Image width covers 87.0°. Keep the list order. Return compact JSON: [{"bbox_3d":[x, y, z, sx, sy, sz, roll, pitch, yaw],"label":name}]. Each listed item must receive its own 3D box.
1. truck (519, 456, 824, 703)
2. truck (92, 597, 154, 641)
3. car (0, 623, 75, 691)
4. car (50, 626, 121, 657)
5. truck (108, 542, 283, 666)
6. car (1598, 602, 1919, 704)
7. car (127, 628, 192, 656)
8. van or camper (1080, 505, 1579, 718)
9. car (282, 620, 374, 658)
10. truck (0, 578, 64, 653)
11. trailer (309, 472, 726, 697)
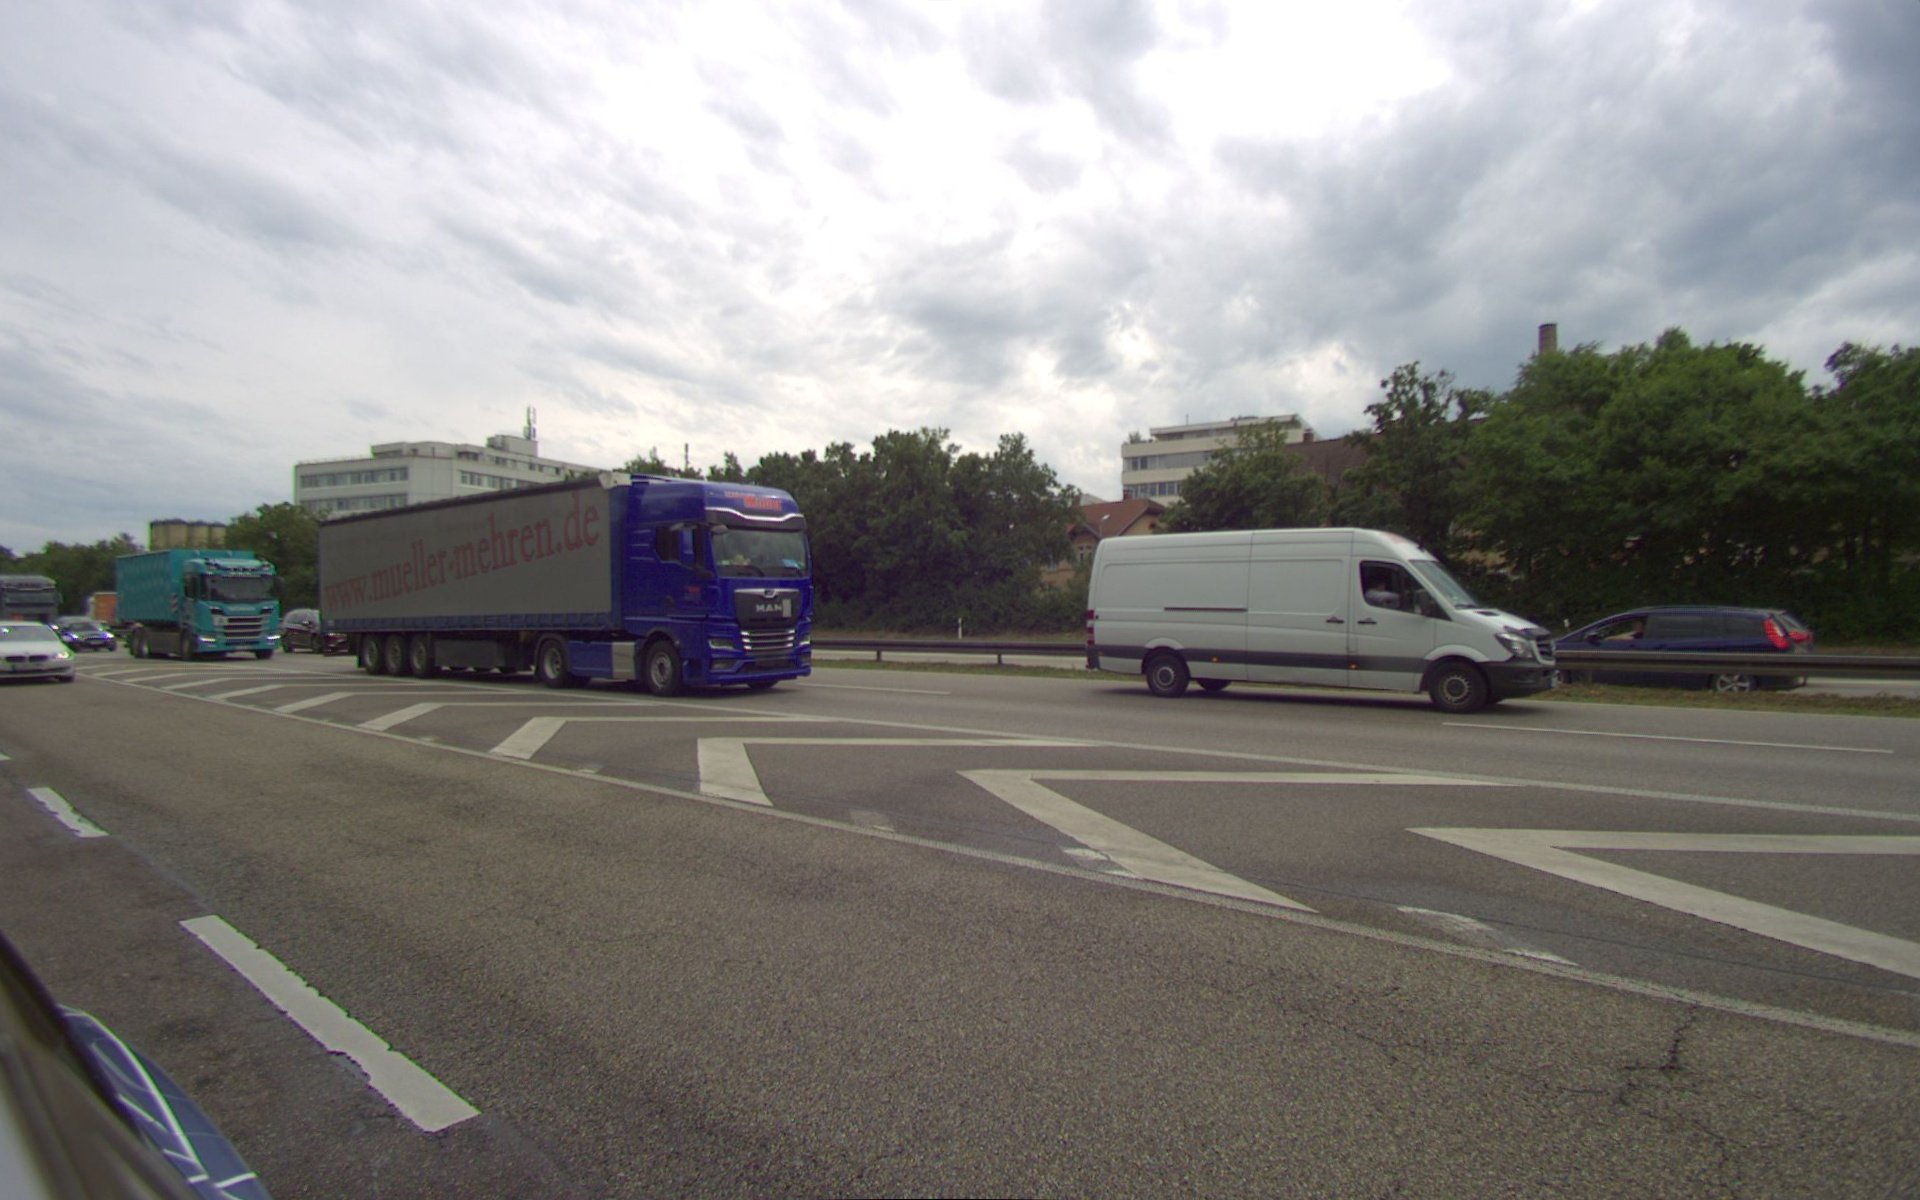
[{"bbox_3d":[-5.608,-0.281,19.246,5.919,3.991,2.643,-1,-1,38],"label":"truck"},{"bbox_3d":[-73.755,1.689,89.150,7.523,3.790,1.978,-1,-2,33],"label":"truck"},{"bbox_3d":[-22.996,1.331,24.405,4.881,1.475,1.840,-1,-1,41],"label":"car"},{"bbox_3d":[-40.418,1.898,46.747,3.994,1.332,1.736,-1,-1,38],"label":"car"},{"bbox_3d":[-28.327,0.225,37.267,10.111,4.031,2.667,-1,-1,38],"label":"truck"},{"bbox_3d":[13.773,0.867,17.631,4.300,1.571,1.974,-1,-2,39],"label":"car"},{"bbox_3d":[-43.562,2.261,55.056,4.049,1.444,1.875,-1,-2,38],"label":"car"},{"bbox_3d":[5.343,0.211,15.611,6.950,2.641,2.028,-1,-2,40],"label":"van or camper"},{"bbox_3d":[-25.336,1.518,40.534,3.994,1.444,1.875,-1,-2,38],"label":"car"},{"bbox_3d":[-55.414,0.931,58.263,13.123,3.955,3.288,-1,-1,37],"label":"truck"},{"bbox_3d":[-10.918,-0.155,23.412,13.901,4.005,2.647,-1,-1,38],"label":"trailer"}]
